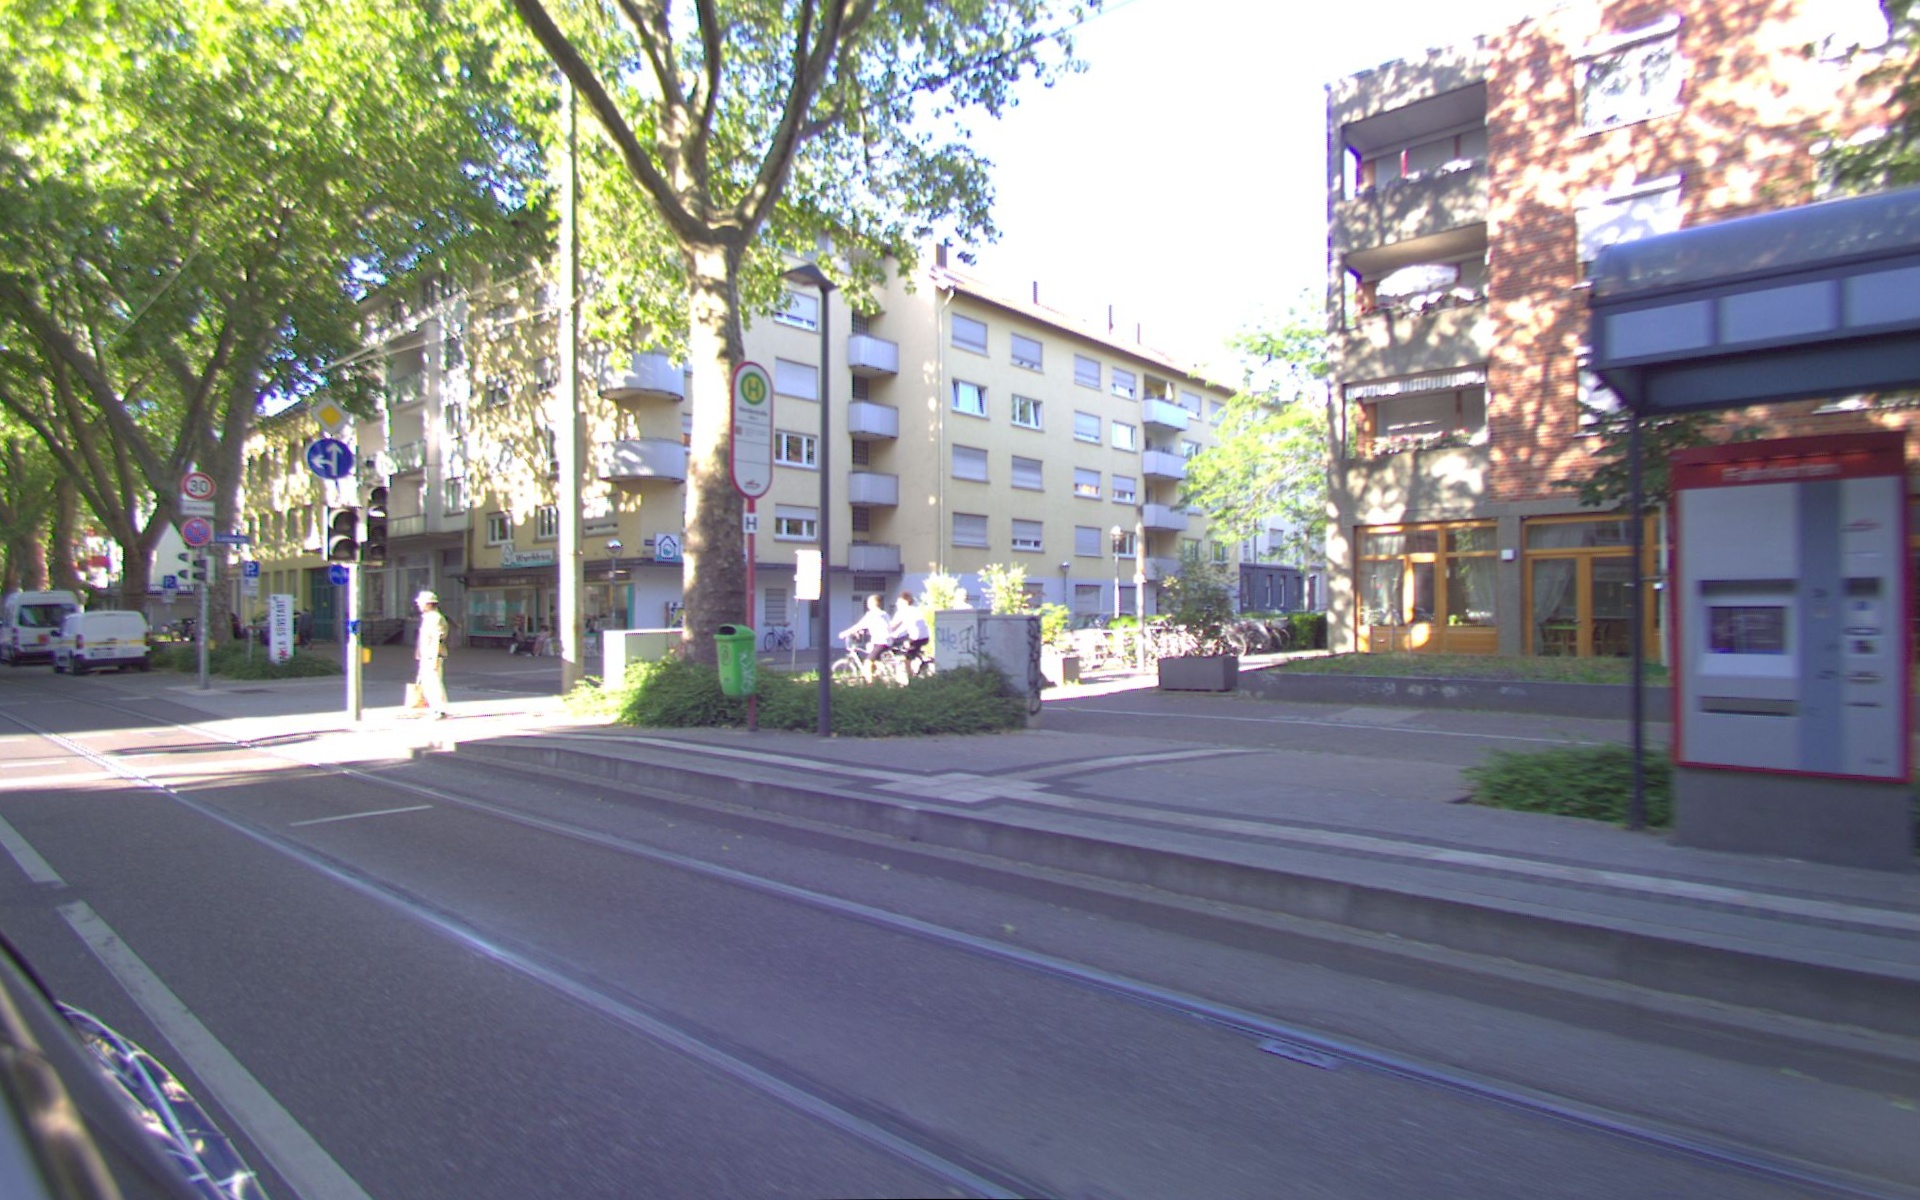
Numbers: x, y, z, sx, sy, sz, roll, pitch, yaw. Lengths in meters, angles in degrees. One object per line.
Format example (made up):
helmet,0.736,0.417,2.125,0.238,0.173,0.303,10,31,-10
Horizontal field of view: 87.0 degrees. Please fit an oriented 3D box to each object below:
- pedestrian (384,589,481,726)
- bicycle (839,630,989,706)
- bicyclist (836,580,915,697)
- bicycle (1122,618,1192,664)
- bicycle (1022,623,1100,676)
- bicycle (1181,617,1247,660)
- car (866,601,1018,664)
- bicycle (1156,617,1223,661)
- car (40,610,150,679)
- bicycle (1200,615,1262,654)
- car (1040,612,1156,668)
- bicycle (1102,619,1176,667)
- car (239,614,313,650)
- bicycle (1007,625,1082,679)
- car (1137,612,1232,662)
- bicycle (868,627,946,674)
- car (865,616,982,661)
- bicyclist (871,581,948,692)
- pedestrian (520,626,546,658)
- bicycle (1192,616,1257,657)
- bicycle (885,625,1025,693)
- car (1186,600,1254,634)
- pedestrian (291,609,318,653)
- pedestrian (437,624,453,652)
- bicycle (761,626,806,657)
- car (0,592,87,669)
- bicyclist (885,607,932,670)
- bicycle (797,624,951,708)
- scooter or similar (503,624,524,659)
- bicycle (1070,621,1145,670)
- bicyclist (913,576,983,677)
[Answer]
pedestrian,-7.463,0.781,14.331,0.919,1.849,0.915,-1,0,37
bicycle,-0.794,1.079,16.608,2.593,1.119,0.775,-1,0,39
bicyclist,-1.323,0.585,15.879,0.950,1.776,0.775,-1,0,38
bicycle,4.888,1.016,25.164,1.637,1.092,0.536,-2,-2,40
bicycle,2.202,1.100,22.235,1.637,1.092,0.536,-4,-2,40
bicycle,6.806,1.013,27.136,1.637,1.092,0.536,-1,0,40
car,-0.423,0.817,27.162,1.998,1.519,3.947,-1,0,40
bicycle,5.922,1.003,26.146,1.637,1.092,0.536,-1,0,40
car,-25.537,1.248,29.828,4.314,1.864,1.745,-1,0,39
bicycle,7.778,0.970,29.099,1.637,1.092,0.536,-1,0,40
car,4.547,1.253,33.015,1.959,1.674,3.947,-1,-1,40
bicycle,4.289,1.045,24.317,1.637,1.092,0.536,-4,-2,40
car,-34.781,1.583,51.383,4.896,1.746,1.972,-1,0,42
bicycle,1.803,1.117,21.759,1.535,1.092,0.536,-4,-3,40
car,8.388,1.319,37.635,1.866,1.674,3.947,-1,0,40
bicycle,-1.320,1.249,25.626,0.681,1.078,2.185,-1,0,39
car,-1.226,1.288,35.364,1.998,1.386,3.947,-1,0,40
bicyclist,-0.830,0.580,16.606,0.996,1.763,0.767,-1,0,39
pedestrian,-14.881,1.455,35.300,0.710,1.055,0.572,-1,0,40
bicycle,7.235,0.978,27.714,1.637,1.092,0.536,-1,0,40
bicycle,-0.126,1.032,18.228,2.593,1.119,0.775,-1,0,39
car,13.690,0.877,53.199,1.998,1.696,3.947,-1,0,40
pedestrian,-28.786,1.355,44.446,0.863,1.883,0.737,-1,0,39
pedestrian,-20.481,1.500,40.238,0.436,1.114,0.417,-1,0,31
bicycle,-6.531,1.524,37.486,0.543,1.092,1.616,-3,-2,42
car,-33.750,1.067,37.069,6.024,2.597,2.085,-1,0,43
bicyclist,-1.304,0.963,25.638,0.681,1.559,0.980,-1,0,39
bicycle,-1.387,0.988,15.919,2.593,1.200,0.775,-1,0,39
scooter or similar,-15.602,1.433,35.368,0.633,1.176,0.677,-1,0,-23
bicycle,3.402,1.056,23.410,1.637,1.092,0.536,-3,-2,40
bicyclist,-0.217,0.467,18.308,0.996,1.763,0.767,-1,0,38
